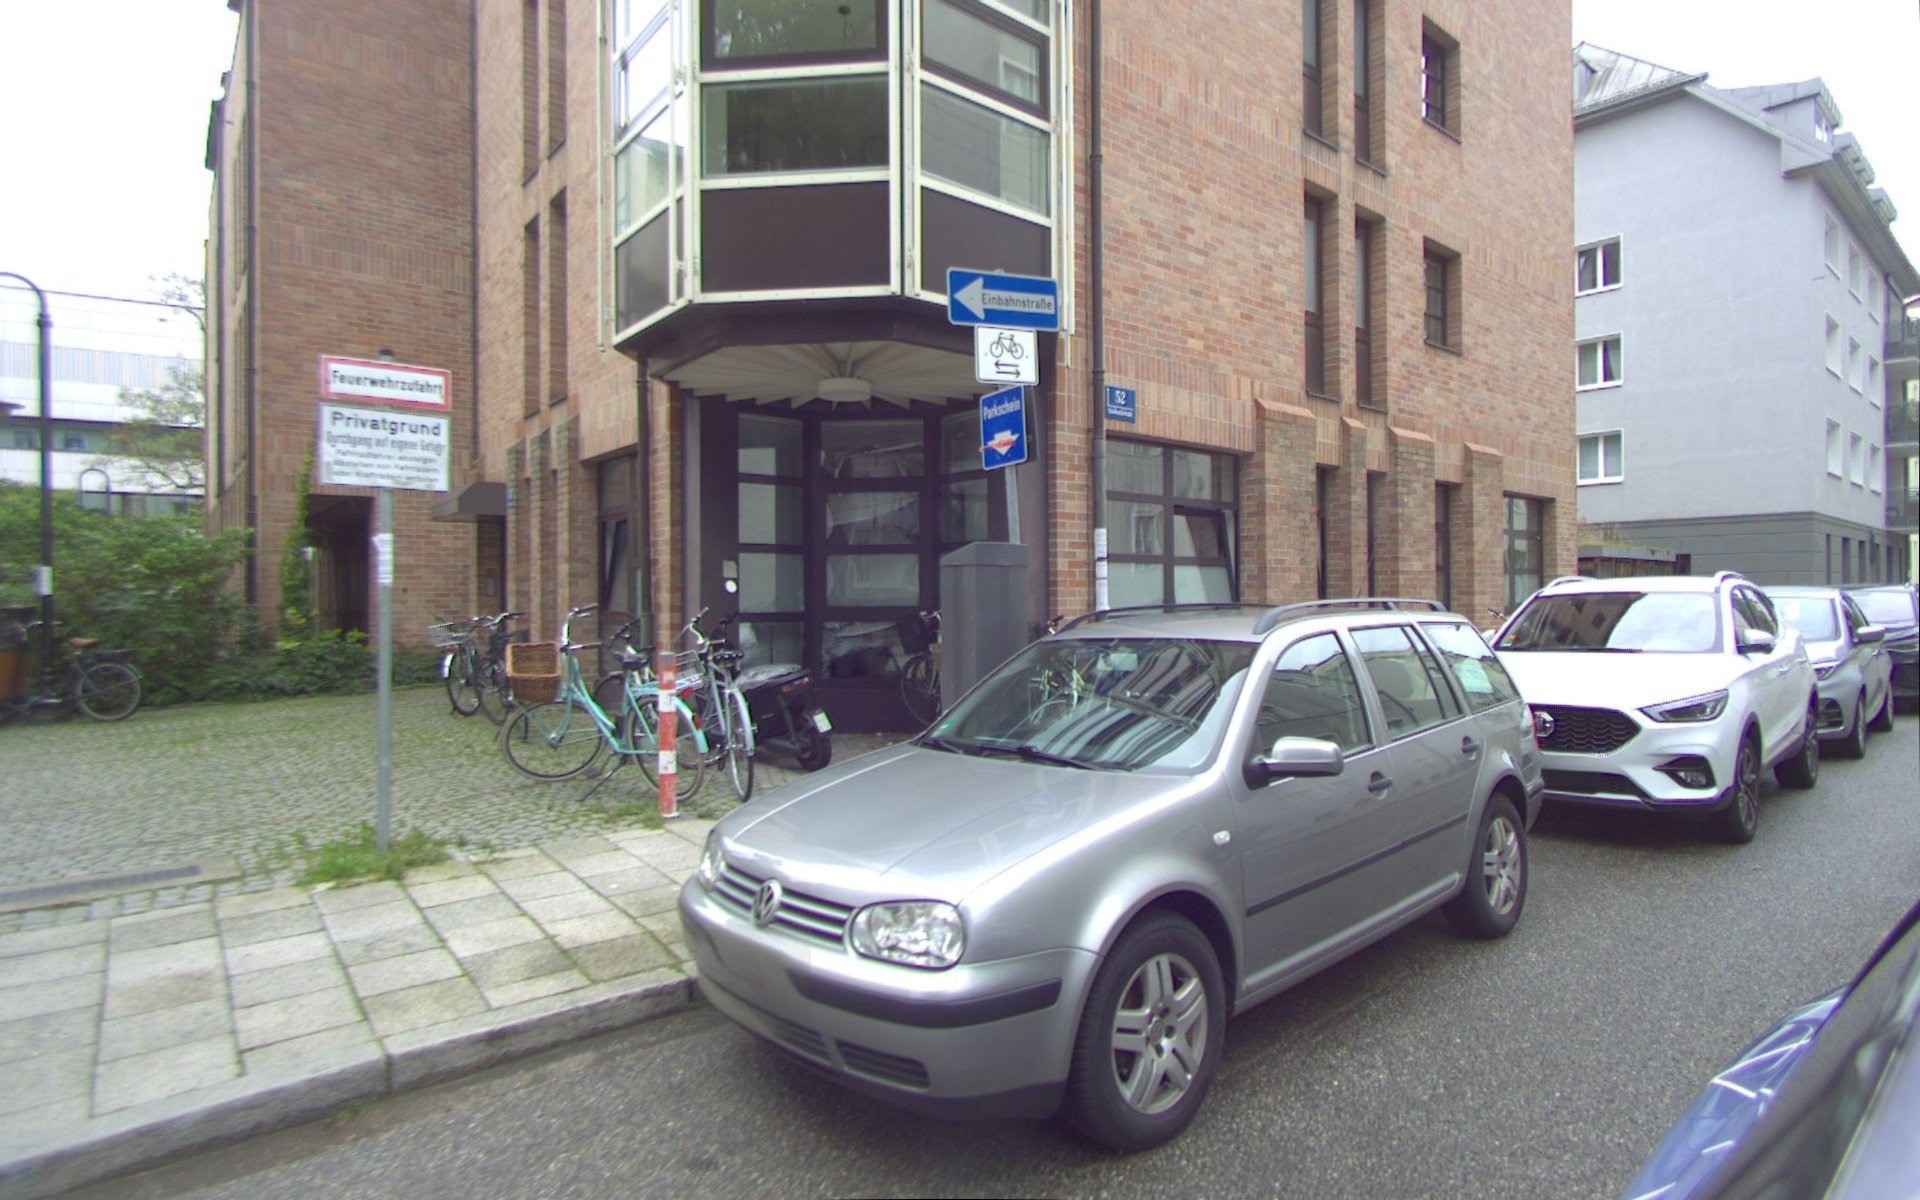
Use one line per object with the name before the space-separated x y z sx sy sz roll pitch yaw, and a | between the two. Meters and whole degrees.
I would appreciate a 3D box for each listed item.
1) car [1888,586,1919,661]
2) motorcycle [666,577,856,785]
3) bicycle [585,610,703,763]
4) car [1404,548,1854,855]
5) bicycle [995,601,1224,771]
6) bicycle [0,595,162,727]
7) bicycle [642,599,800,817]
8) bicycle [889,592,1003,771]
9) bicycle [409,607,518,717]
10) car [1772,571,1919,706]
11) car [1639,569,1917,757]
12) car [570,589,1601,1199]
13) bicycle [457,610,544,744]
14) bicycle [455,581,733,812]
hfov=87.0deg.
car | 19.783 0.410 19.998 3.750 1.394 1.618 -1 -1 -40
motorcycle | -1.562 0.538 7.739 0.543 1.402 1.761 0 2 -45
bicycle | -2.614 0.642 8.254 0.434 1.086 1.755 0 0 -34
car | 5.150 0.530 7.515 4.379 1.636 1.722 -1 -1 -42
bicycle | 1.234 0.649 8.312 1.743 1.232 0.744 -1 1 -26
bicycle | -9.839 0.646 10.579 2.218 1.285 0.810 -3 0 -7
bicycle | -1.640 0.630 6.741 0.434 1.201 1.755 0 2 -34
bicycle | -0.161 0.574 8.204 0.581 1.244 1.881 -1 1 -11
bicycle | -5.335 0.630 10.962 0.434 1.086 1.426 0 0 2
car | 12.423 0.440 13.679 3.982 1.600 1.617 -1 -1 -42
car | 8.454 0.518 10.348 3.743 1.577 1.617 -1 -1 -42
car | 0.901 0.723 4.070 4.284 1.453 1.722 -1 -1 -42
bicycle | -4.268 0.650 9.341 0.434 1.086 1.887 0 0 -34
bicycle | -2.377 0.562 6.531 1.786 1.339 0.583 -1 1 25
